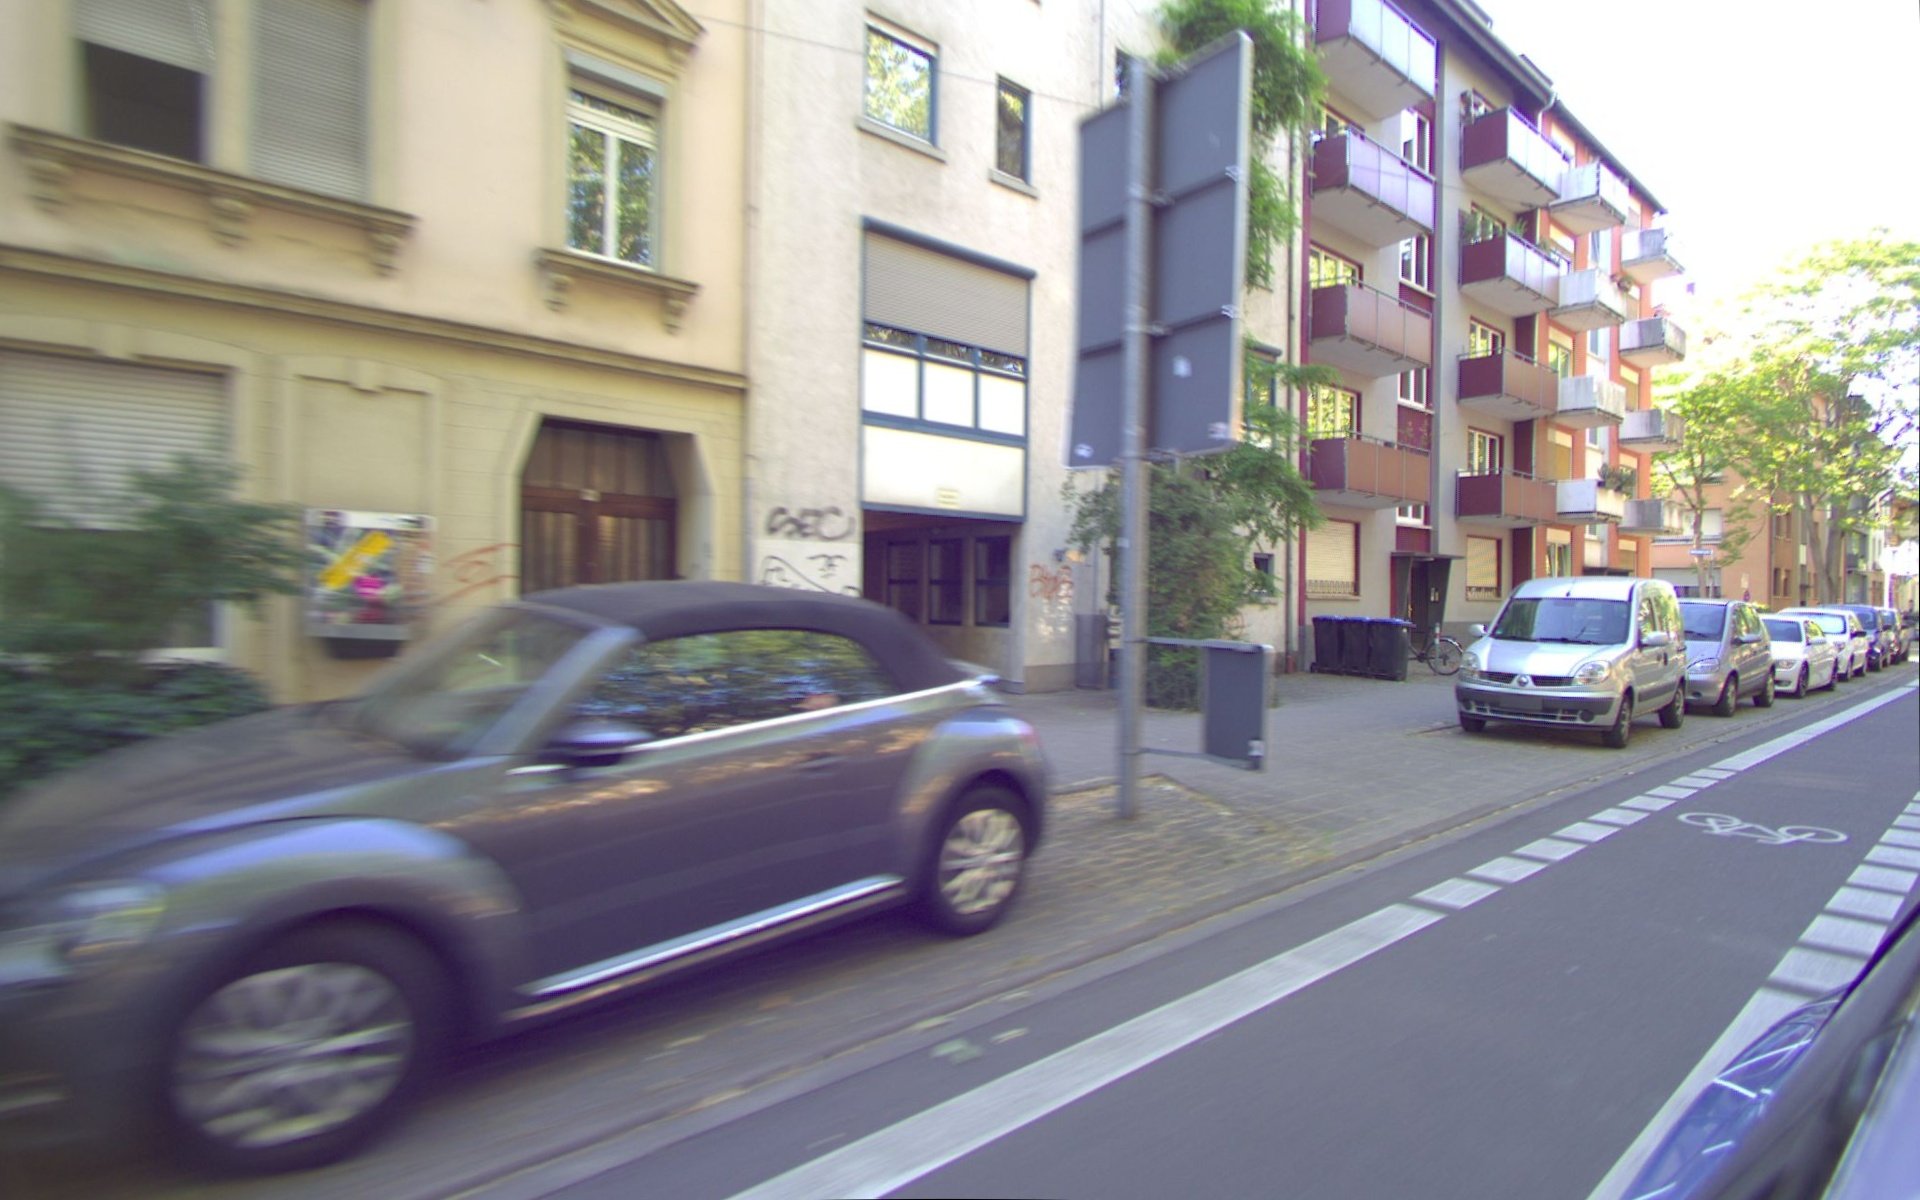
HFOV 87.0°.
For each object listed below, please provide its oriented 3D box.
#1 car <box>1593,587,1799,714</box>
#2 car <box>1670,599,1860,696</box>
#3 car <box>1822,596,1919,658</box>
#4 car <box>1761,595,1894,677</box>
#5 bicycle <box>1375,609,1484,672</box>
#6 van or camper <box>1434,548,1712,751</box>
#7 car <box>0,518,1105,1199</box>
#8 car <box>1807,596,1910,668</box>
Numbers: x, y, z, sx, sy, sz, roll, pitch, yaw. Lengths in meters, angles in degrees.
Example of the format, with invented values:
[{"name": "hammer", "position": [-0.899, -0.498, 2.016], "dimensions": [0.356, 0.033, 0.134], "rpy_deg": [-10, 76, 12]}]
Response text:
[{"name": "car", "position": [10.854, 0.650, 14.850], "dimensions": [3.525, 1.600, 1.663], "rpy_deg": [0, 2, -41]}, {"name": "car", "position": [14.269, 0.750, 17.842], "dimensions": [4.655, 1.416, 1.663], "rpy_deg": [0, 2, -40]}, {"name": "car", "position": [24.984, 0.685, 27.561], "dimensions": [3.848, 1.480, 1.736], "rpy_deg": [0, 2, -42]}, {"name": "car", "position": [18.840, 0.699, 21.934], "dimensions": [3.768, 1.545, 1.595], "rpy_deg": [0, 3, -41]}, {"name": "bicycle", "position": [8.984, 0.748, 19.446], "dimensions": [0.467, 1.042, 1.900], "rpy_deg": [1, 2, -35]}, {"name": "van or camper", "position": [7.108, 0.441, 11.557], "dimensions": [4.140, 1.906, 1.671], "rpy_deg": [0, 2, -44]}, {"name": "car", "position": [-1.355, 0.557, 4.033], "dimensions": [1.732, 1.576, 4.086], "rpy_deg": [4, 3, 44]}, {"name": "car", "position": [22.033, 0.725, 24.774], "dimensions": [3.689, 1.610, 1.527], "rpy_deg": [0, 0, -43]}]
